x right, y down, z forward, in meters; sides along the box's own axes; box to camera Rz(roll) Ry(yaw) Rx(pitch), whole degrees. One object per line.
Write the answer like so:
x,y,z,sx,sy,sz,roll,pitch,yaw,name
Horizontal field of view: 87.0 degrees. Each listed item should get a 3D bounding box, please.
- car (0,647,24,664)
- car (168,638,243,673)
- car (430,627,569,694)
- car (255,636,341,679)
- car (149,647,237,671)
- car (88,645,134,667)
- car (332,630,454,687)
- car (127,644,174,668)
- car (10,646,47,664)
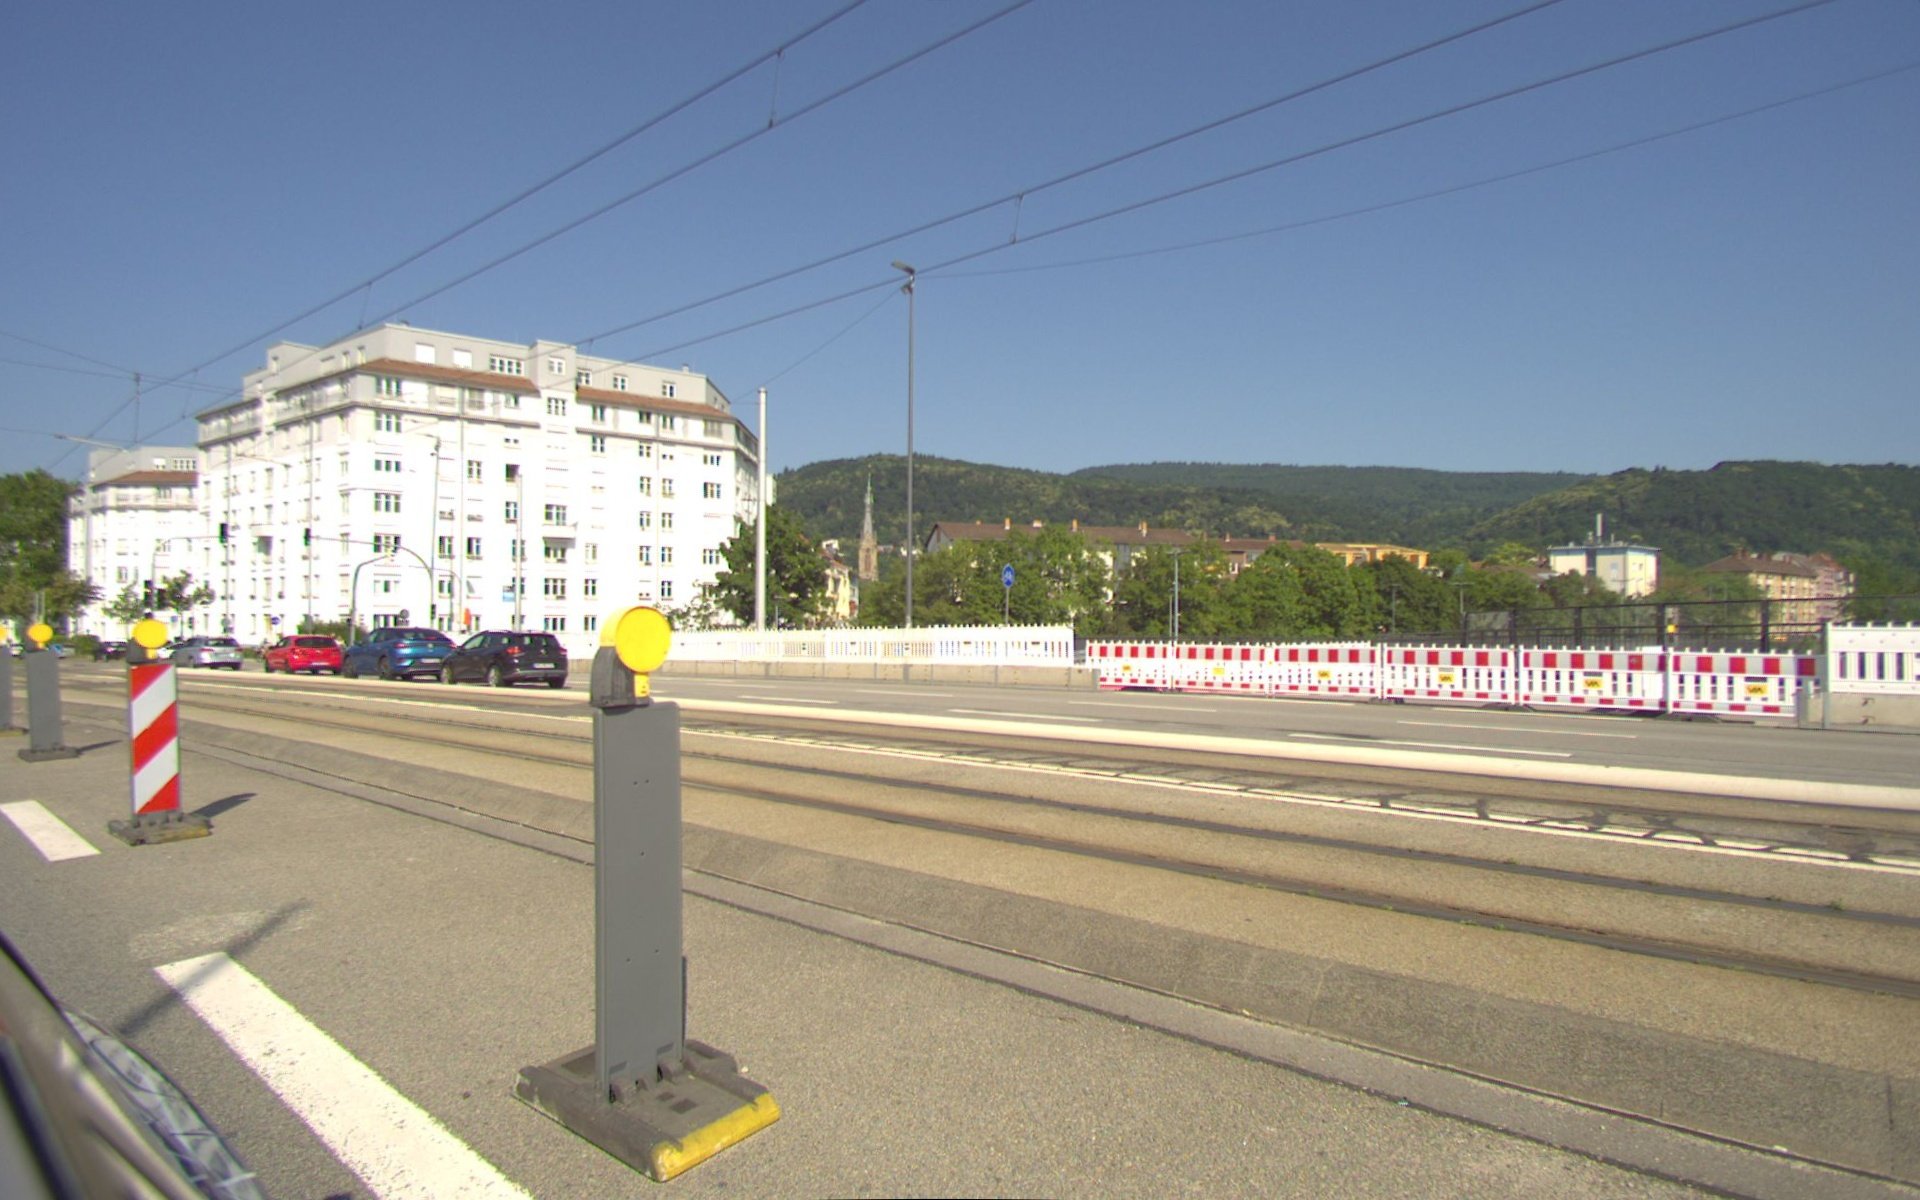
-87.946,5.090,93.312,3.732,1.496,1.719,-2,-2,36,car
-32.870,2.404,44.060,4.641,1.448,1.620,-2,-4,41,car
-11.469,1.476,25.070,4.174,1.512,1.490,-2,-4,40,car
-24.027,2.082,36.662,3.977,1.448,1.518,-2,-5,41,car
-46.389,3.544,61.205,4.437,1.423,1.697,-1,-2,10,car
-64.929,4.268,77.395,3.730,1.650,1.720,-2,-2,34,car
-16.647,1.682,29.624,4.553,1.562,1.652,-2,-3,41,car
-57.859,4.001,72.334,3.732,1.650,1.719,-2,-2,36,car
-81.974,4.862,89.046,3.732,1.496,1.719,-2,-2,36,car
